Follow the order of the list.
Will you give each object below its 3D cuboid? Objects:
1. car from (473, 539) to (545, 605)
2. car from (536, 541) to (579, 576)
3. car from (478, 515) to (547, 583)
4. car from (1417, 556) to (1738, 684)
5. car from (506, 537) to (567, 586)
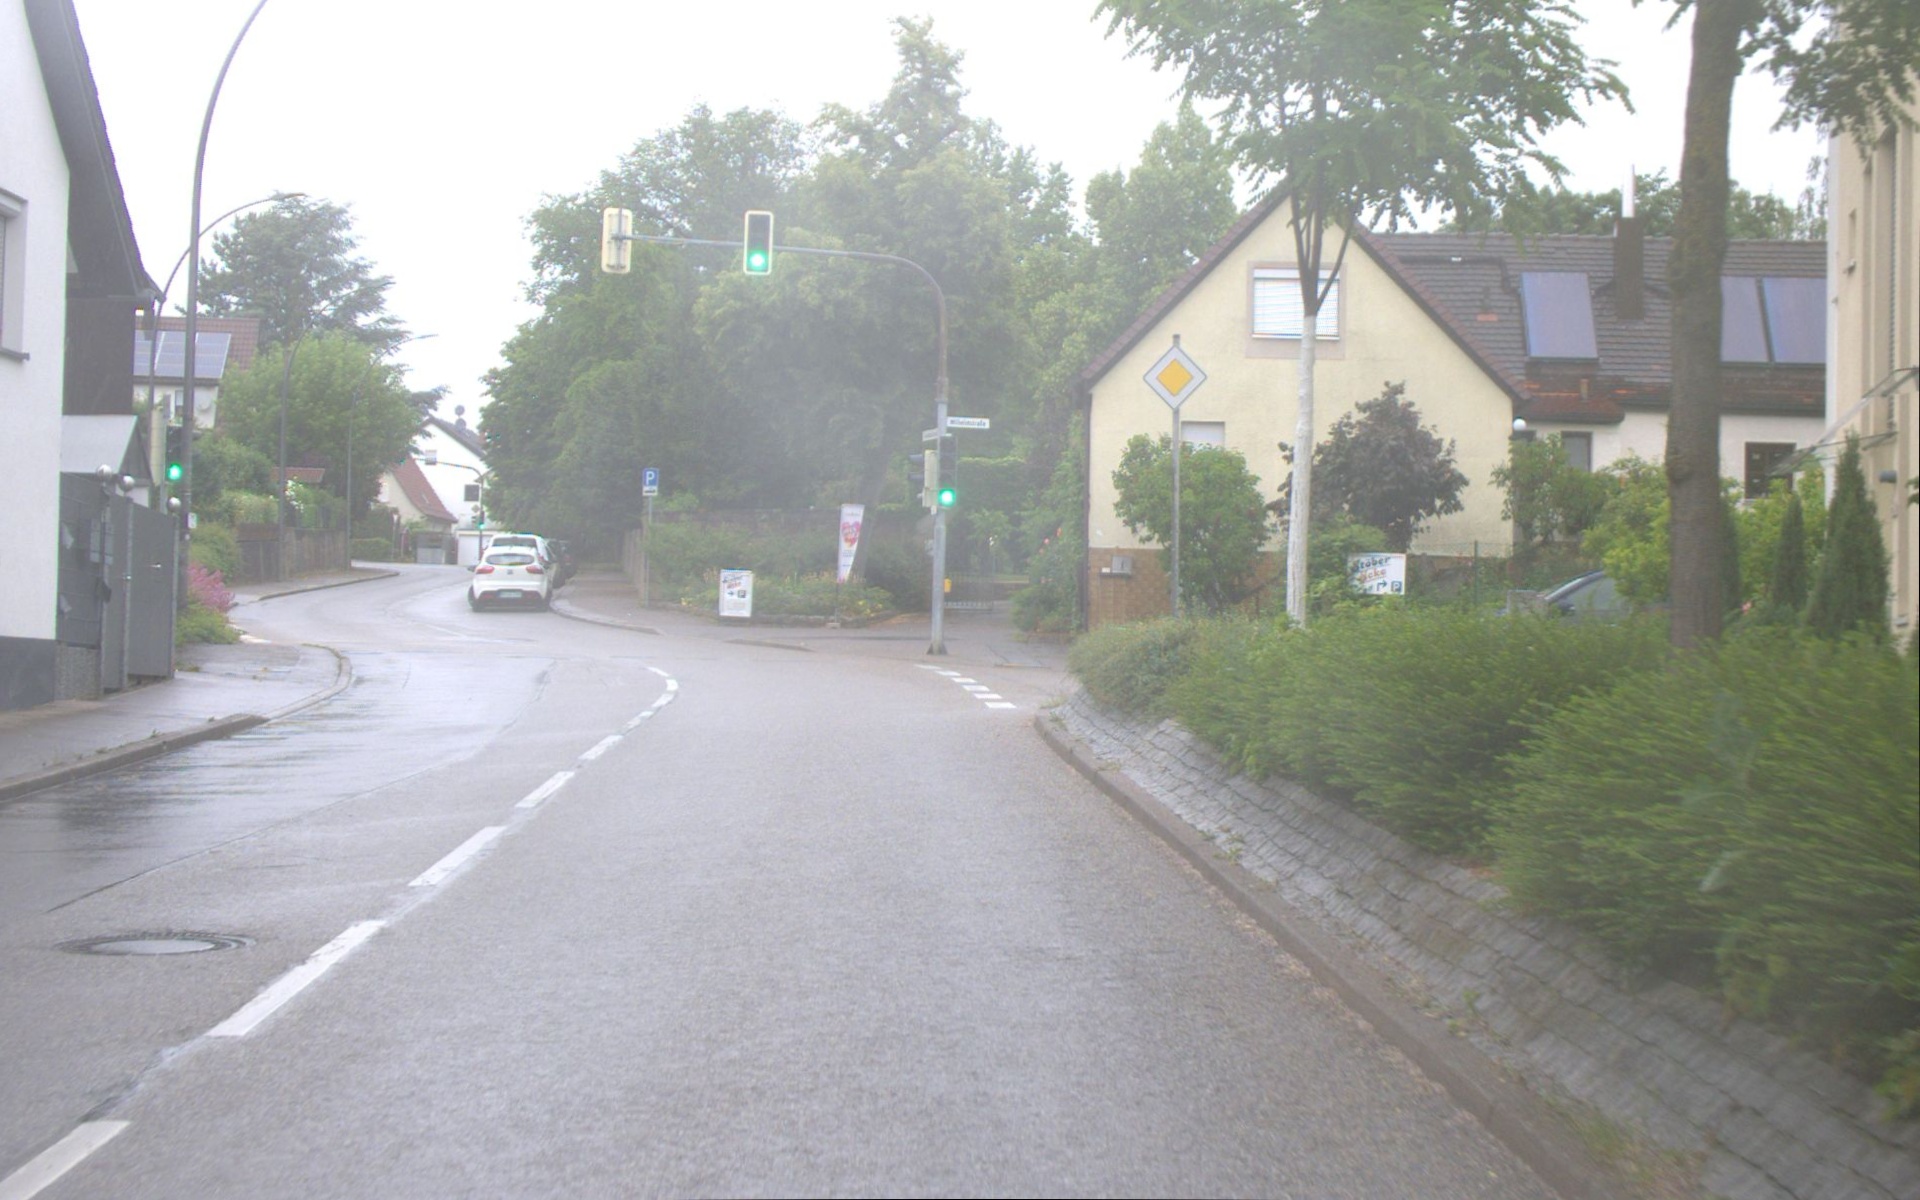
[{"bbox_3d":[-10.645,-0.667,81.043,1.611,1.475,4.039,1,1,-8],"label":"car"},{"bbox_3d":[-16.389,-1.681,139.844,1.651,1.367,4.182,1,1,-8],"label":"car"},{"bbox_3d":[-11.945,-1.363,91.997,1.637,1.735,4.136,1,1,-5],"label":"car"},{"bbox_3d":[8.320,0.270,46.454,4.133,1.580,1.863,2,-1,10],"label":"car"},{"bbox_3d":[-14.025,-1.280,114.010,1.814,1.568,3.881,1,0,-4],"label":"car"}]
